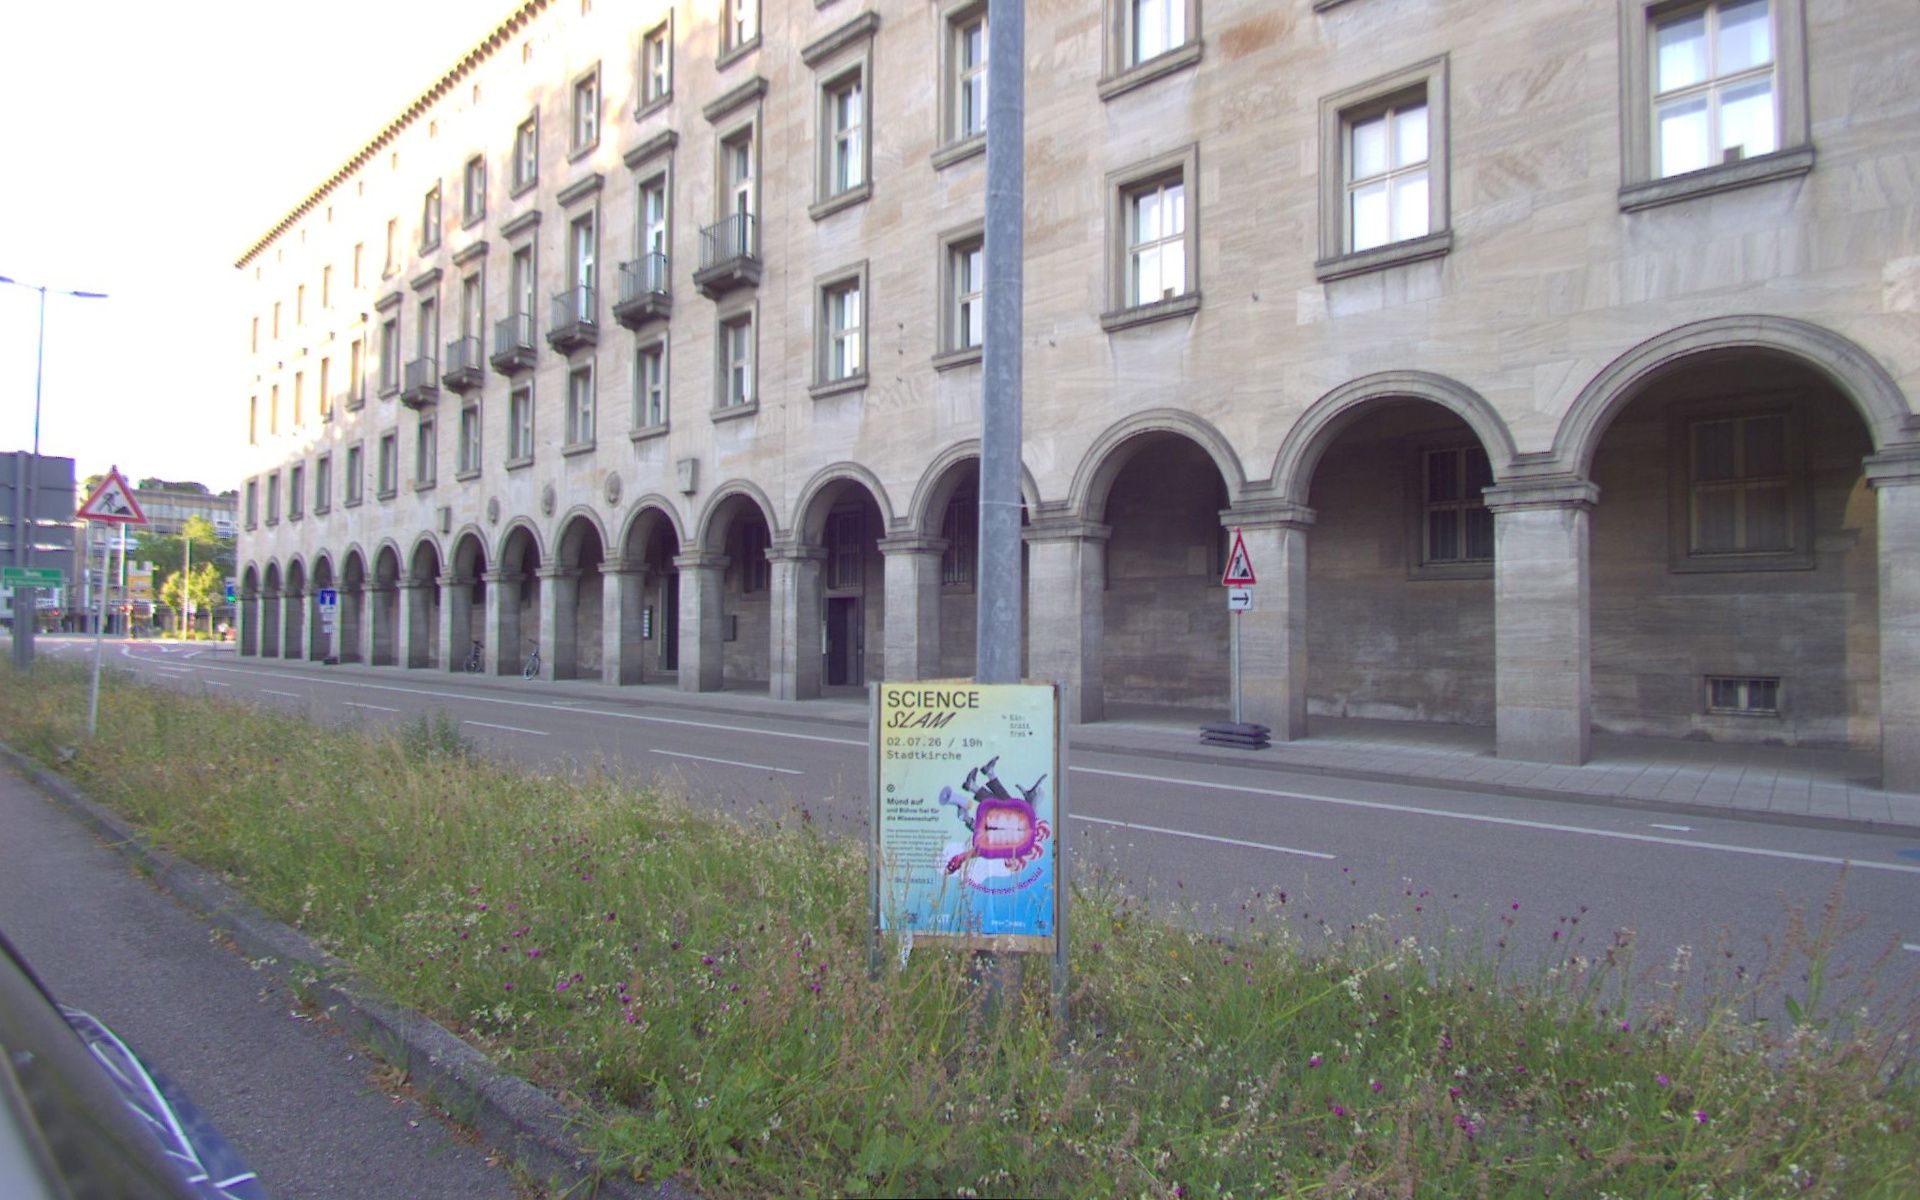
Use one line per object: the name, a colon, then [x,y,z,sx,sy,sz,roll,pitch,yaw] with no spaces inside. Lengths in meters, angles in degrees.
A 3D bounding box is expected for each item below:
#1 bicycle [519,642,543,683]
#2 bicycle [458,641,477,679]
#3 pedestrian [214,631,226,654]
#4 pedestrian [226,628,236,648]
bicycle: [-12.792,1.852,30.237,0.505,1.130,2.431,1,-1,-20]
bicycle: [-16.168,1.943,33.264,0.505,1.188,2.431,1,-2,-25]
pedestrian: [-58.781,3.362,80.345,0.506,1.771,0.630,-2,-3,41]
pedestrian: [-58.241,3.054,80.856,0.389,1.553,0.519,-2,-3,41]
